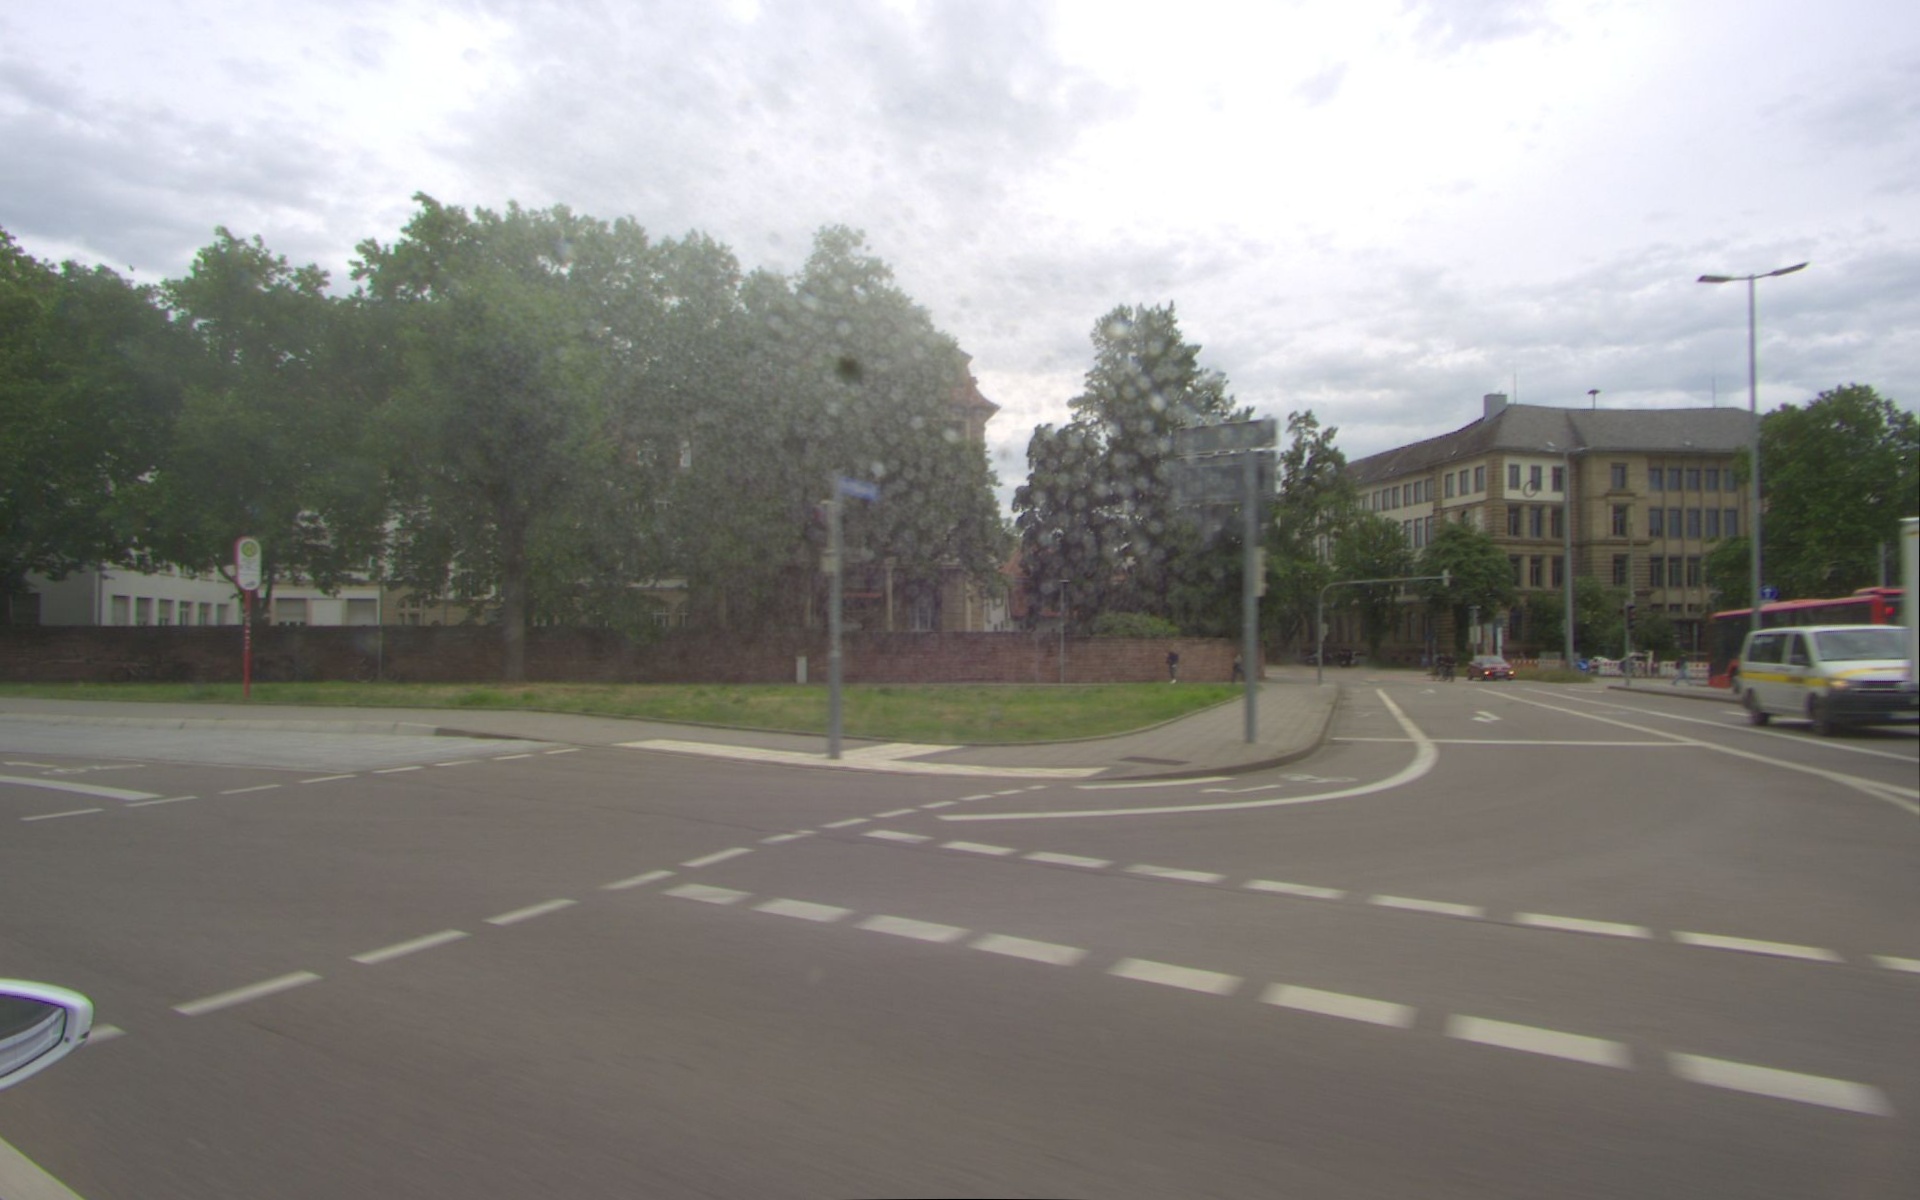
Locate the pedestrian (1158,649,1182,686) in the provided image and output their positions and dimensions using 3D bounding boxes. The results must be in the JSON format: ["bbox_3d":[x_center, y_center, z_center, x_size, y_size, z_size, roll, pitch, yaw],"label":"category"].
[{"bbox_3d":[10.082,3.229,48.032,0.811,1.758,0.753,0,0,-31],"label":"pedestrian"}]

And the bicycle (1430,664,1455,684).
[{"bbox_3d":[28.737,4.401,59.716,0.778,1.052,2.221,0,-1,11],"label":"bicycle"}]

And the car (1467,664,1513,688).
[{"bbox_3d":[30.690,4.362,58.019,1.420,1.171,3.535,0,-1,12],"label":"car"}]

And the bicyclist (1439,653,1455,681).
[{"bbox_3d":[27.786,3.825,57.112,0.590,1.541,0.782,0,0,9],"label":"bicyclist"}]

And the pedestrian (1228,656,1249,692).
[{"bbox_3d":[13.164,3.477,47.362,0.684,1.659,0.867,0,-2,38],"label":"pedestrian"}]

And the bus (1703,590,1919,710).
[{"bbox_3d":[26.211,1.557,30.169,2.887,2.943,12.080,0,-3,20],"label":"bus"}]

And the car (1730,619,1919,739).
[{"bbox_3d":[16.270,1.409,18.537,1.889,1.942,4.706,-3,-4,22],"label":"car"}]

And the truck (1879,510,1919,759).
[{"bbox_3d":[13.682,0.287,11.084,2.516,3.452,6.848,-2,-4,19],"label":"truck"}]

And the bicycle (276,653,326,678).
[{"bbox_3d":[-26.647,2.640,40.496,1.605,1.005,0.551,0,0,-4],"label":"bicycle"}]

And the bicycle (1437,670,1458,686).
[{"bbox_3d":[27.791,4.430,57.139,0.590,0.831,1.820,0,-1,9],"label":"bicycle"}]

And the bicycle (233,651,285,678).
[{"bbox_3d":[-28.340,2.606,40.478,1.680,1.073,0.596,0,0,-1],"label":"bicycle"}]

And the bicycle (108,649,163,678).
[{"bbox_3d":[-33.404,2.555,40.581,1.680,1.151,0.596,0,0,-1],"label":"bicycle"}]

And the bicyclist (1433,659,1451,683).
[{"bbox_3d":[28.740,4.209,59.744,0.778,1.375,0.740,0,0,11],"label":"bicyclist"}]

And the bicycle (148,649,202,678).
[{"bbox_3d":[-31.700,2.552,40.451,1.680,1.144,0.596,0,0,-1],"label":"bicycle"}]
